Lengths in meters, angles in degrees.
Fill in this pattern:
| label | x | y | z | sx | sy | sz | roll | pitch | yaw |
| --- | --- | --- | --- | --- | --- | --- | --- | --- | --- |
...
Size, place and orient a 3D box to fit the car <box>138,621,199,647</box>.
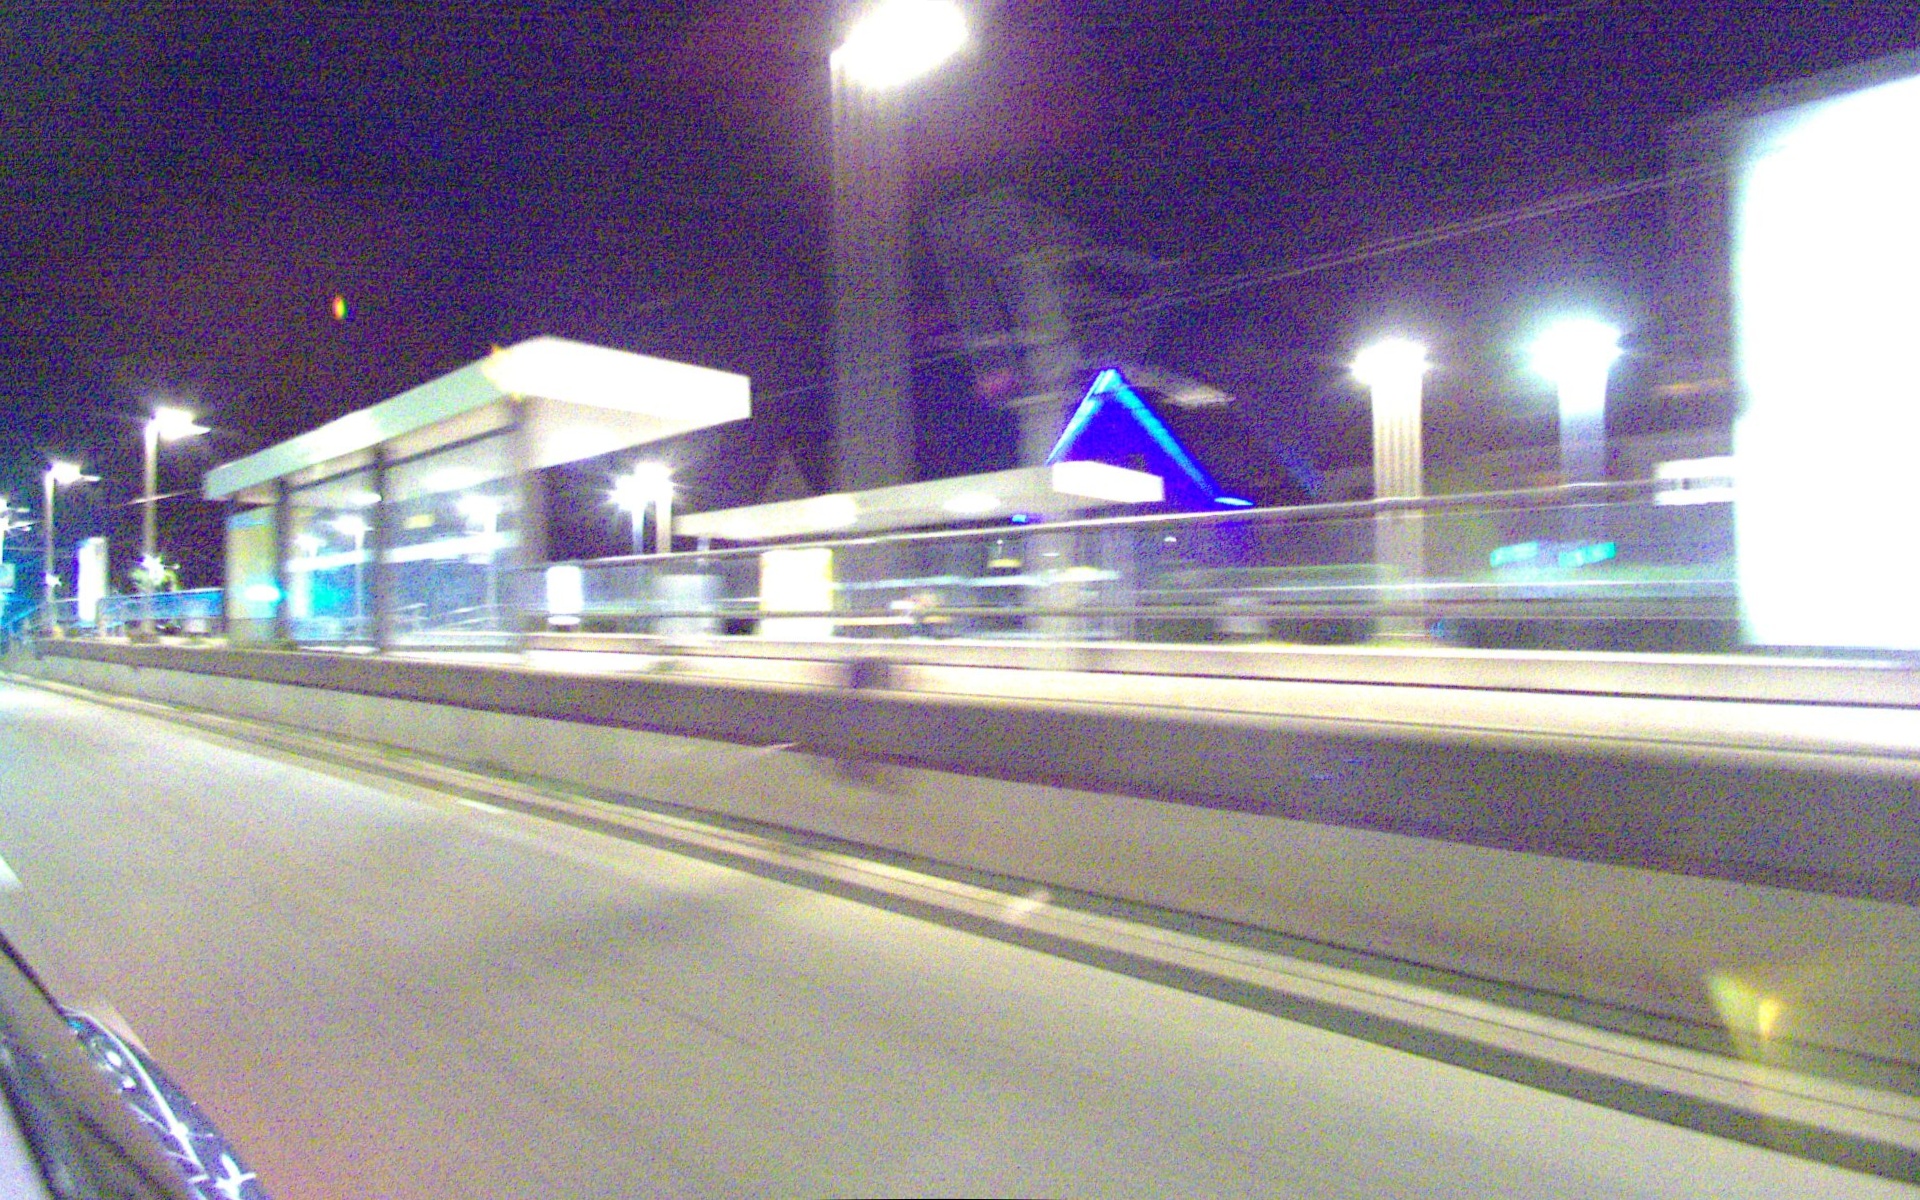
| label | x | y | z | sx | sy | sz | roll | pitch | yaw |
| --- | --- | --- | --- | --- | --- | --- | --- | --- | --- |
| car | -46.861 | 2.007 | 59.903 | 4.087 | 1.516 | 1.848 | -2 | -3 | 37 |
